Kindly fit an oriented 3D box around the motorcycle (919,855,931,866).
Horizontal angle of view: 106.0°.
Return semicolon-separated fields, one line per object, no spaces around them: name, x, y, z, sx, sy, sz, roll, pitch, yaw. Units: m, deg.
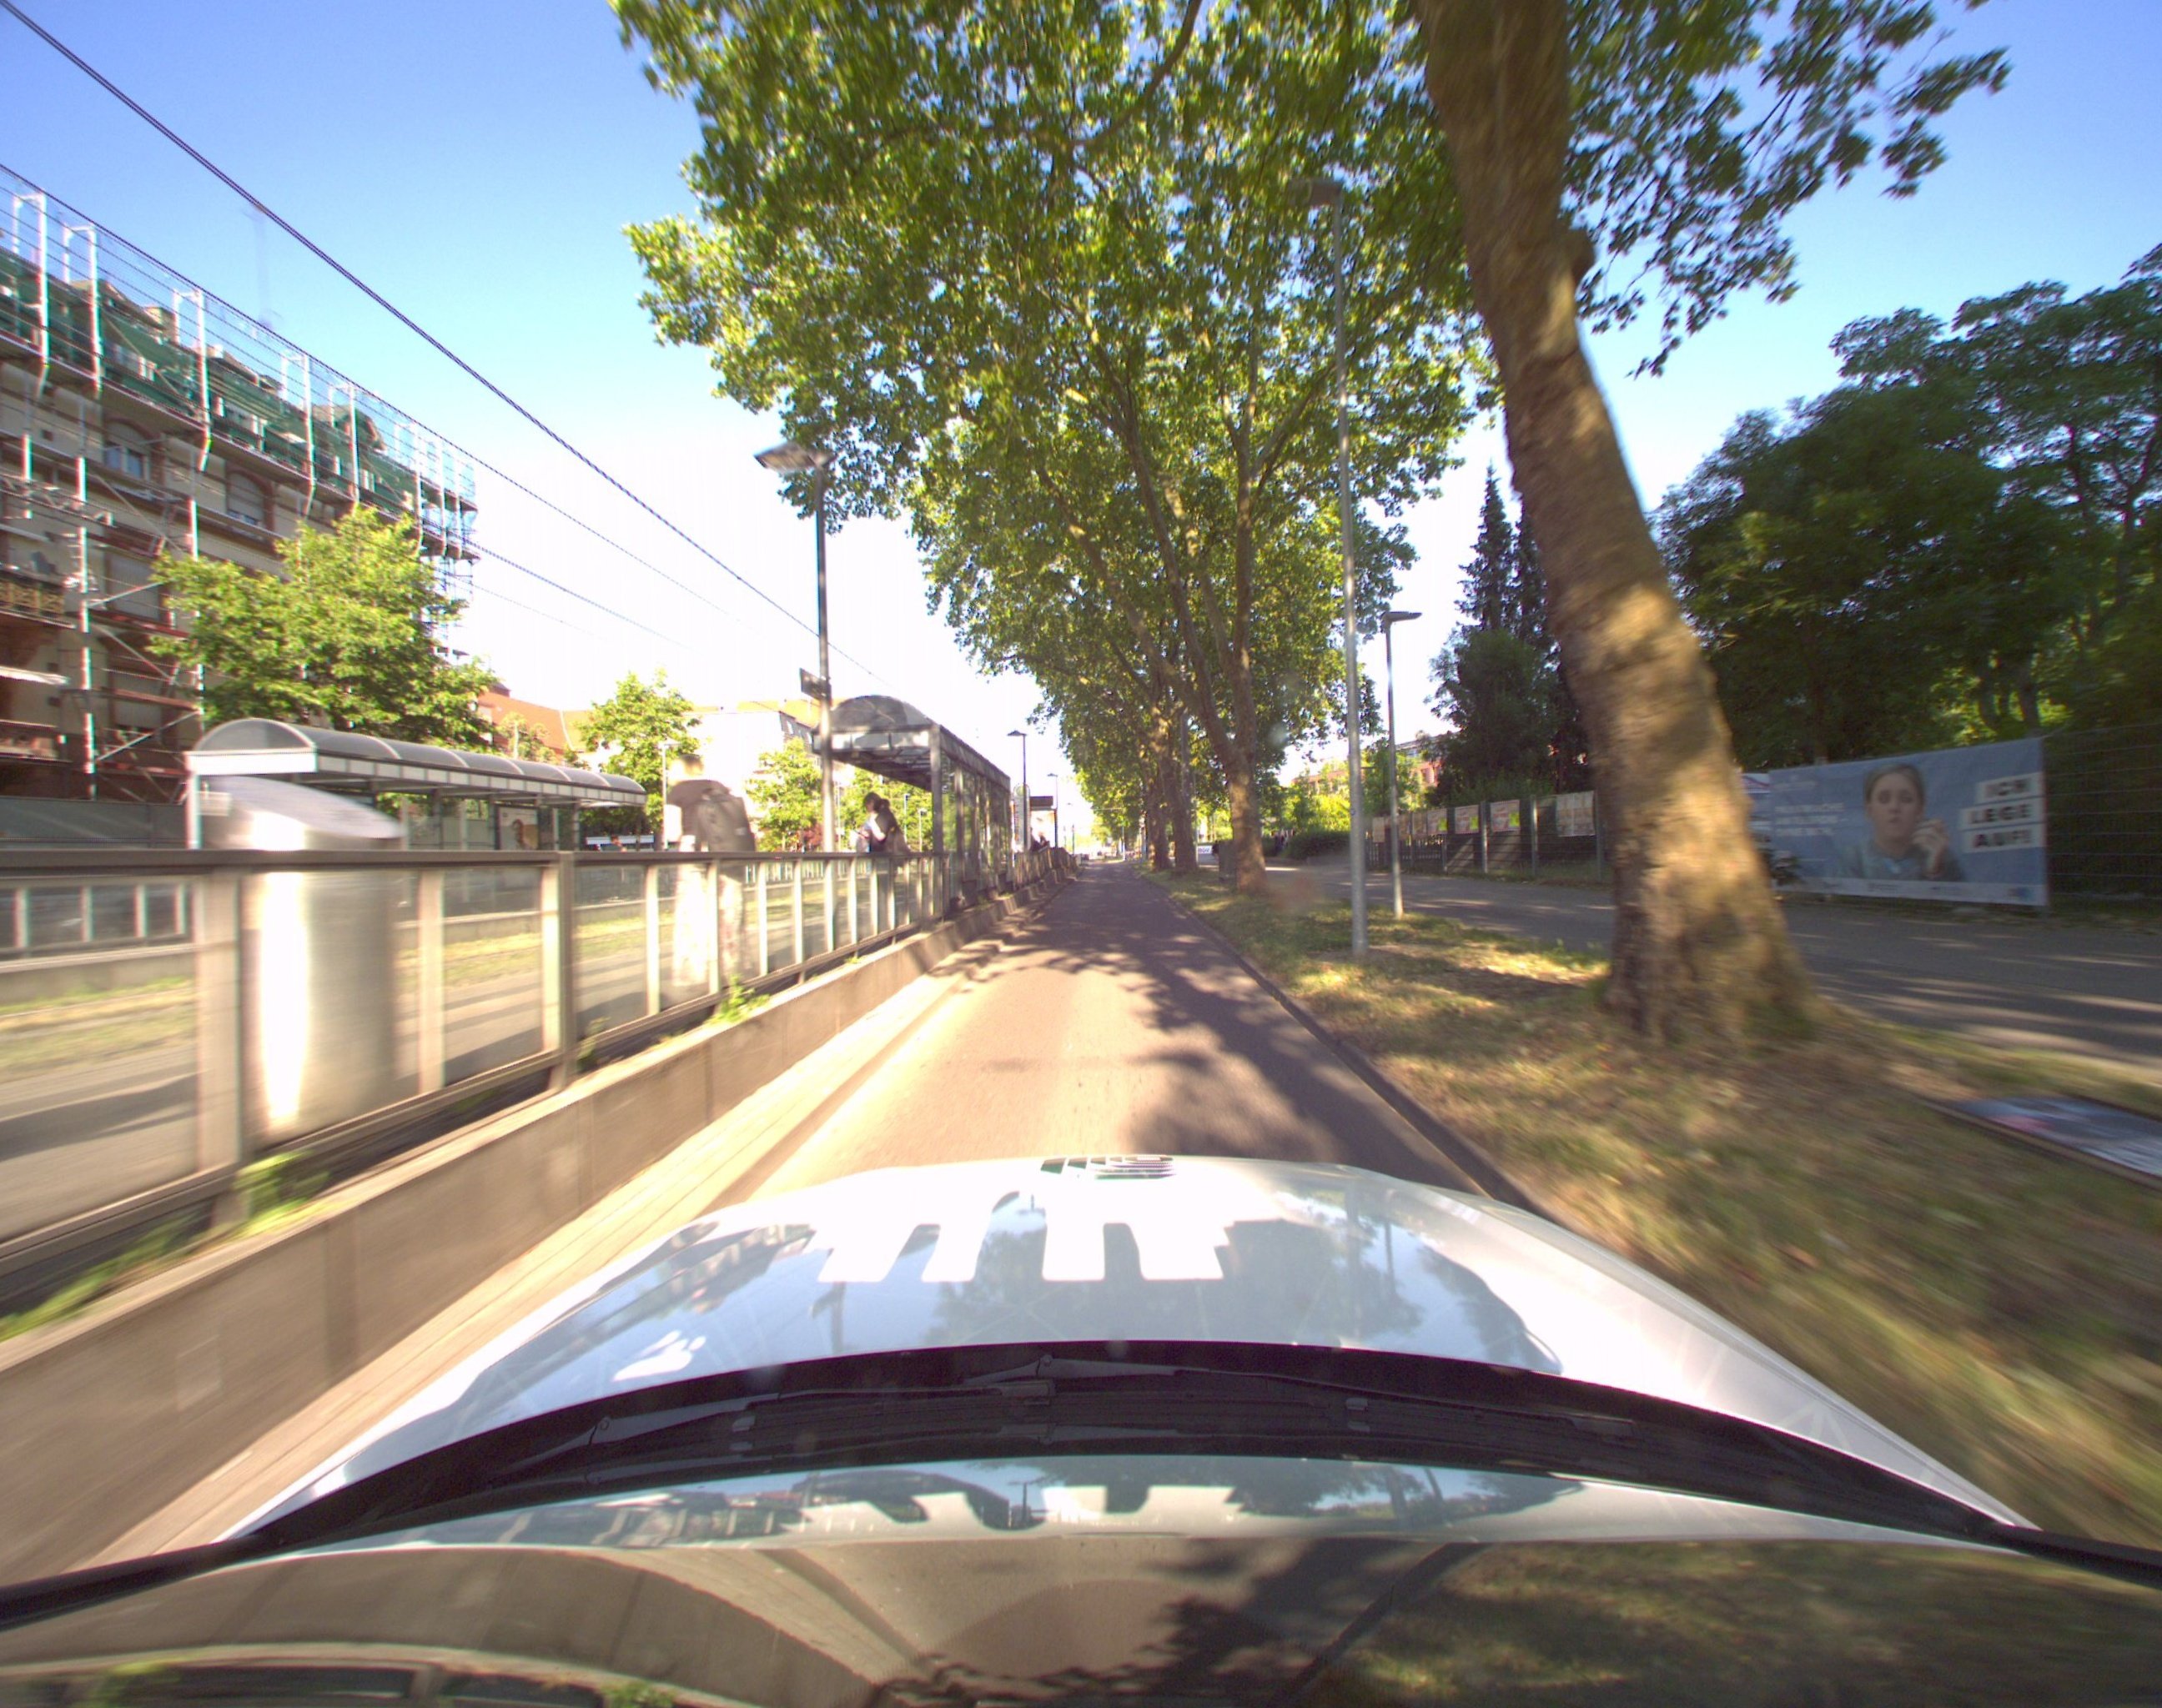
motorcycle;-15.323;0.638;79.804;0.816;1.073;2.399;0;0;-3

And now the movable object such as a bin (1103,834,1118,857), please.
movable object such as a bin;6.909;-2.034;193.698;3.076;5.088;8.894;-4;0;1

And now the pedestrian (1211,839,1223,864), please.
pedestrian;9.239;-0.193;55.252;0.625;1.656;0.740;-3;0;1

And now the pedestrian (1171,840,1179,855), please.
pedestrian;12.031;-0.841;104.349;0.802;1.793;1.110;-3;0;2

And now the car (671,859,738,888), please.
car;-21.835;1.085;47.406;1.713;1.586;4.071;0;0;6

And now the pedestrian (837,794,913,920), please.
pedestrian;-2.951;0.038;11.664;0.914;1.722;0.625;0;0;-32

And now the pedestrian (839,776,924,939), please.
pedestrian;-2.219;0.036;9.124;0.762;1.758;0.695;0;0;1

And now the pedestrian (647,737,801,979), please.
pedestrian;-2.460;0.024;5.703;0.676;1.562;0.851;0;0;1

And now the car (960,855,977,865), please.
car;-15.096;0.791;109.632;1.600;1.407;3.853;0;0;2

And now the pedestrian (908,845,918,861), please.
pedestrian;-21.126;-0.086;102.444;0.855;1.928;1.086;-3;0;0

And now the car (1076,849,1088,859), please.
car;0.201;0.076;140.108;1.986;1.684;4.002;0;0;2

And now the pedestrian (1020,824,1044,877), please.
pedestrian;-1.593;-0.099;26.409;0.676;1.690;0.895;0;0;2

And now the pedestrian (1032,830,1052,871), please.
pedestrian;-1.601;-0.154;33.734;0.754;1.690;0.679;0;0;1

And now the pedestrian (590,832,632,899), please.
pedestrian;-12.005;0.285;20.834;0.677;1.690;0.654;0;0;-1

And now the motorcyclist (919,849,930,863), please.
motorcyclist;-15.314;0.212;79.638;0.816;1.300;1.275;0;0;-3

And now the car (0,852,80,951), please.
car;-22.983;0.970;15.837;1.985;2.013;4.004;0;0;3

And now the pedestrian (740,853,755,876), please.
pedestrian;-24.434;0.770;59.752;0.723;1.647;0.811;-3;0;-5

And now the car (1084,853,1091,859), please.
car;2.014;0.672;262.619;1.990;1.860;3.993;0;0;-5

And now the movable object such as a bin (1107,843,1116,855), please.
movable object such as a bin;8.072;-1.231;215.845;1.961;3.013;4.797;-4;0;1

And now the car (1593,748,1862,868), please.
car;15.462;-0.961;20.147;1.985;2.499;6.353;0;0;4
